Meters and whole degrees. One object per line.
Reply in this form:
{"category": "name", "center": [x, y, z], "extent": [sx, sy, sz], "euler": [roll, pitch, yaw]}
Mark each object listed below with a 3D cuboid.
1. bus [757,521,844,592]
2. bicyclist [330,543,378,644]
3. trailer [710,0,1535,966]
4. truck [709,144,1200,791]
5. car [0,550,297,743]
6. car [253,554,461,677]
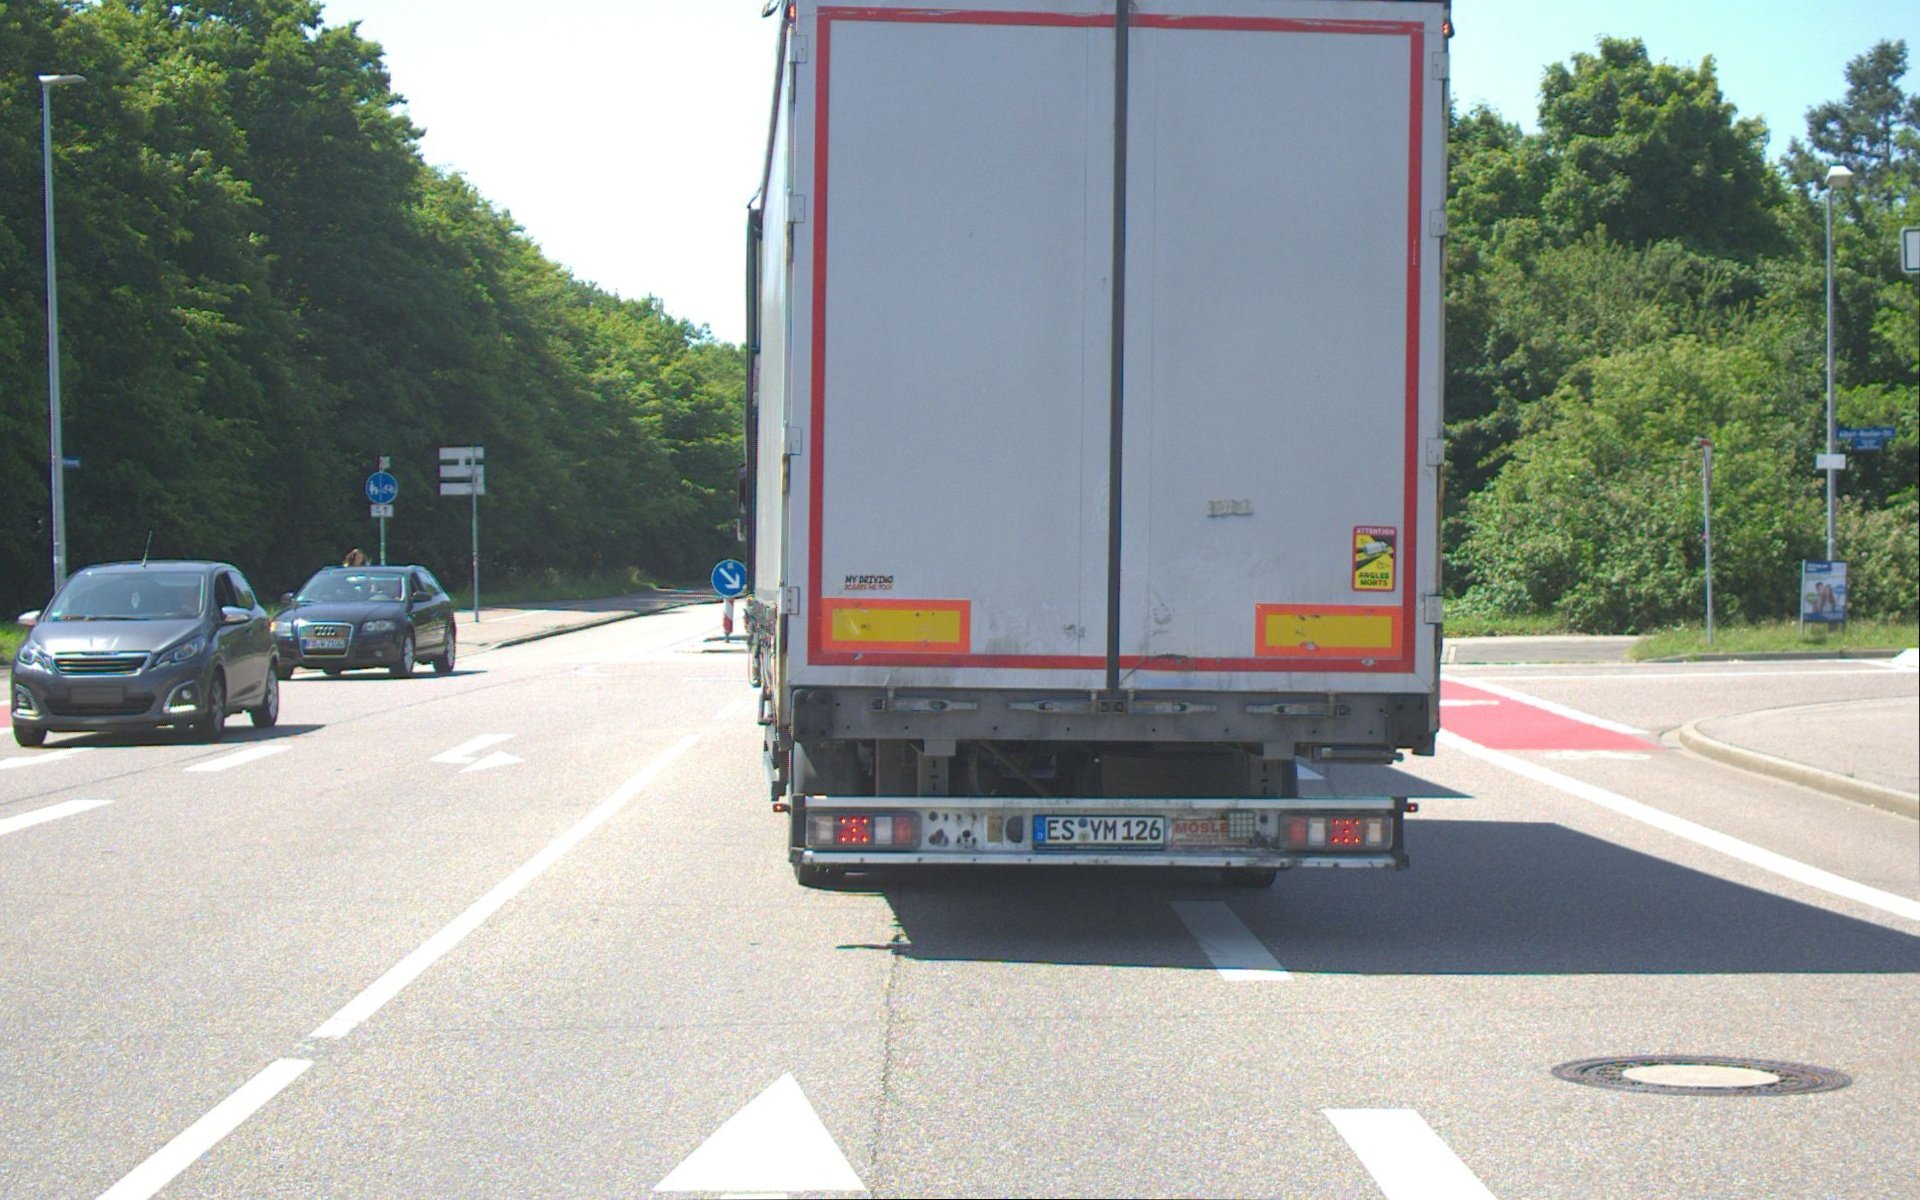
{"category": "bus", "center": [-7.423, -2.104, 161.869], "extent": [2.750, 3.035, 11.938], "euler": [-3, 1, 3]}
{"category": "bicyclist", "center": [-10.380, -0.120, 58.893], "extent": [0.665, 1.700, 0.769], "euler": [1, 1, 1]}
{"category": "trailer", "center": [0.283, -0.747, 17.721], "extent": [3.077, 4.056, 9.810], "euler": [0, 1, -4]}
{"category": "truck", "center": [-0.239, -0.894, 25.630], "extent": [3.077, 4.056, 7.960], "euler": [0, 1, -3]}
{"category": "car", "center": [-6.671, 0.343, 28.566], "extent": [1.622, 1.451, 3.502], "euler": [-2, 1, 0]}
{"category": "car", "center": [-7.723, 0.162, 44.388], "extent": [1.744, 1.400, 4.441], "euler": [-1, 2, 2]}
